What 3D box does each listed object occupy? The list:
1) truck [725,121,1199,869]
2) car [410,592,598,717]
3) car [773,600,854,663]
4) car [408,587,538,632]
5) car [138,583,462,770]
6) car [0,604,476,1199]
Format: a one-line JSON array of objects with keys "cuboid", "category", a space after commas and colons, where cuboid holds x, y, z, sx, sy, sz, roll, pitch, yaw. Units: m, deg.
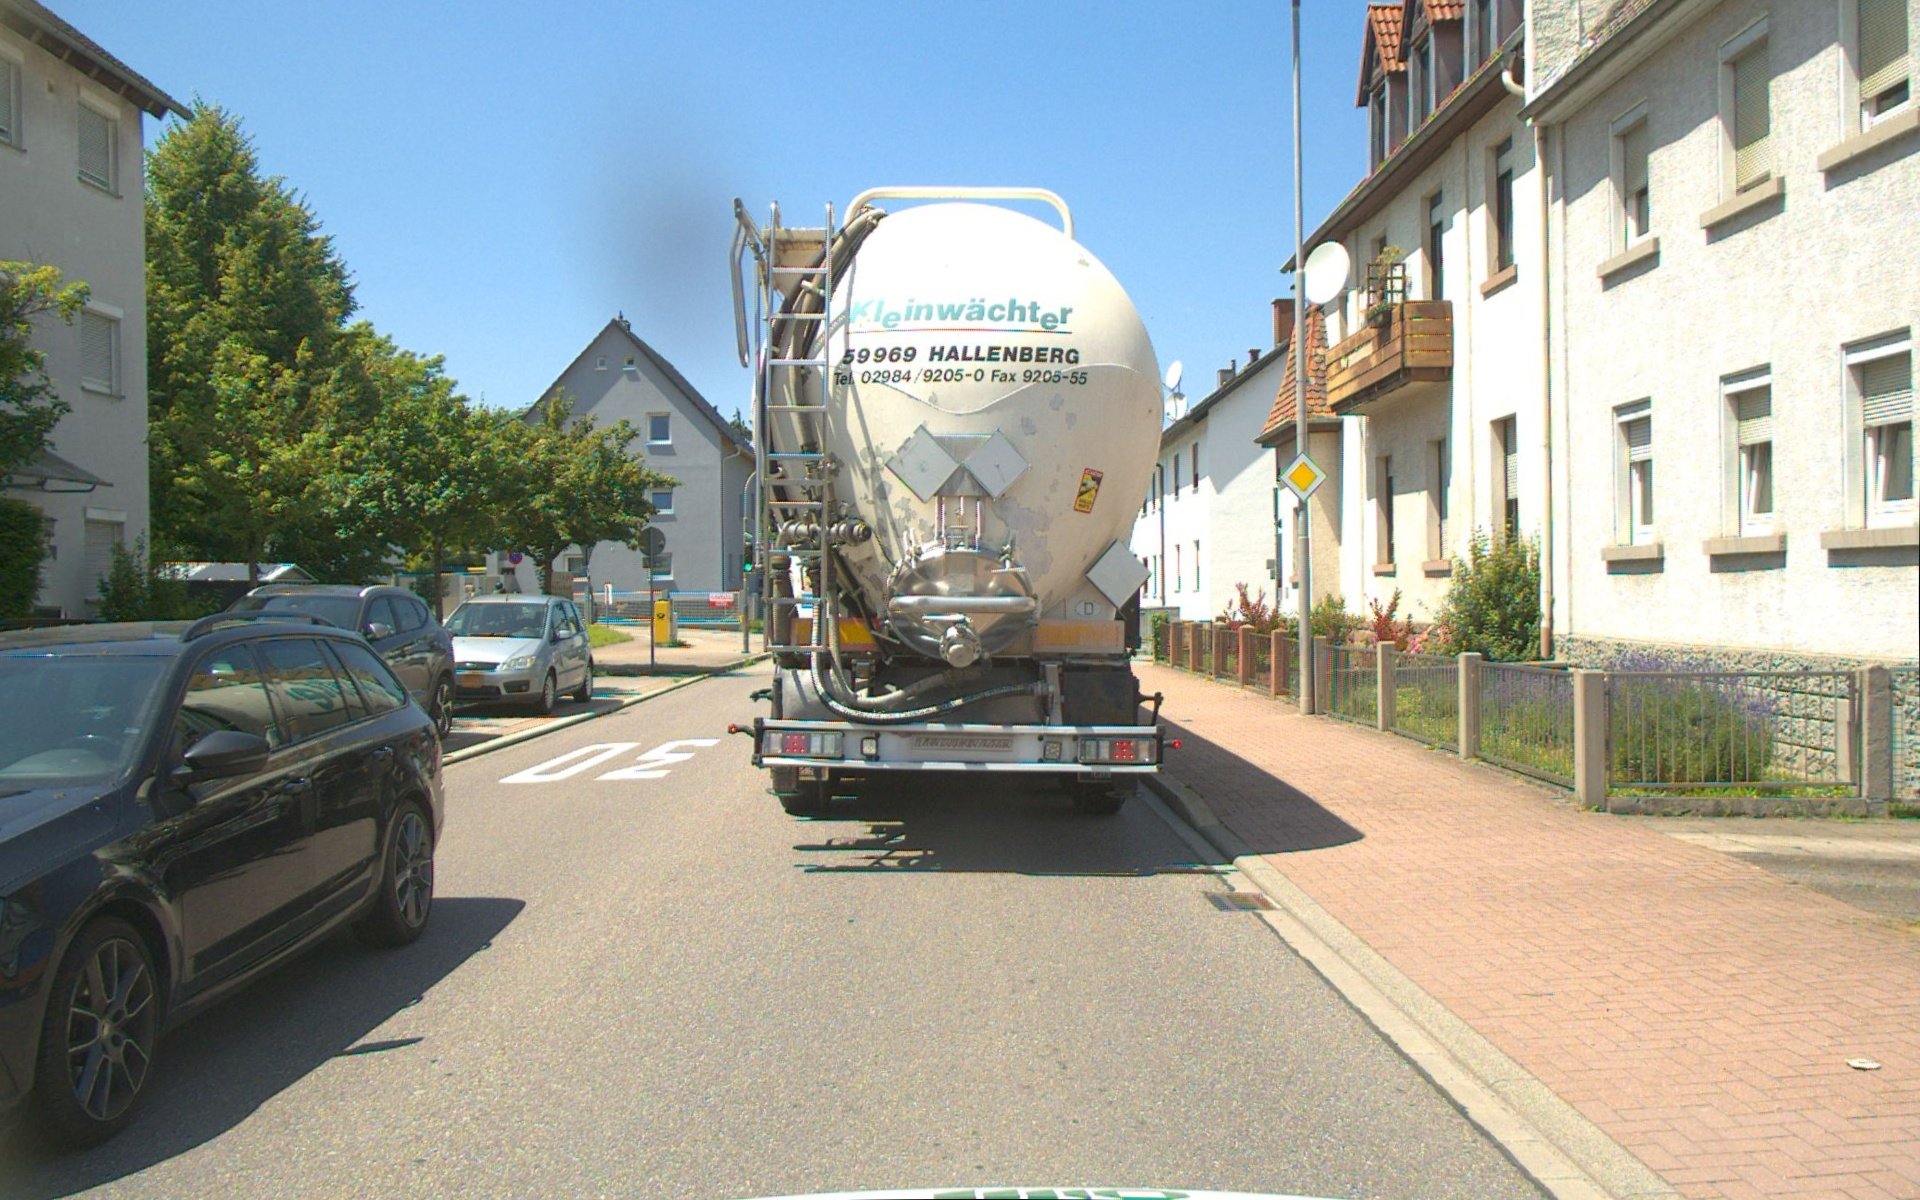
[{"cuboid": [-0.034, -0.578, 13.841, 2.587, 4.086, 9.560, 0, 0, -1], "category": "truck"}, {"cuboid": [-6.322, 0.700, 23.350, 1.663, 1.608, 3.836, 0, 0, -1], "category": "car"}, {"cuboid": [-3.706, 0.761, 42.431, 1.748, 1.481, 4.257, -2, 0, -1], "category": "car"}, {"cuboid": [-19.013, 0.367, 64.673, 4.526, 1.680, 1.742, 0, 0, 7], "category": "car"}, {"cuboid": [-6.431, 0.673, 16.613, 1.657, 1.648, 3.997, 0, 0, 0], "category": "car"}, {"cuboid": [-3.192, 0.794, 5.881, 1.684, 1.472, 4.254, -2, 0, -1], "category": "car"}]
